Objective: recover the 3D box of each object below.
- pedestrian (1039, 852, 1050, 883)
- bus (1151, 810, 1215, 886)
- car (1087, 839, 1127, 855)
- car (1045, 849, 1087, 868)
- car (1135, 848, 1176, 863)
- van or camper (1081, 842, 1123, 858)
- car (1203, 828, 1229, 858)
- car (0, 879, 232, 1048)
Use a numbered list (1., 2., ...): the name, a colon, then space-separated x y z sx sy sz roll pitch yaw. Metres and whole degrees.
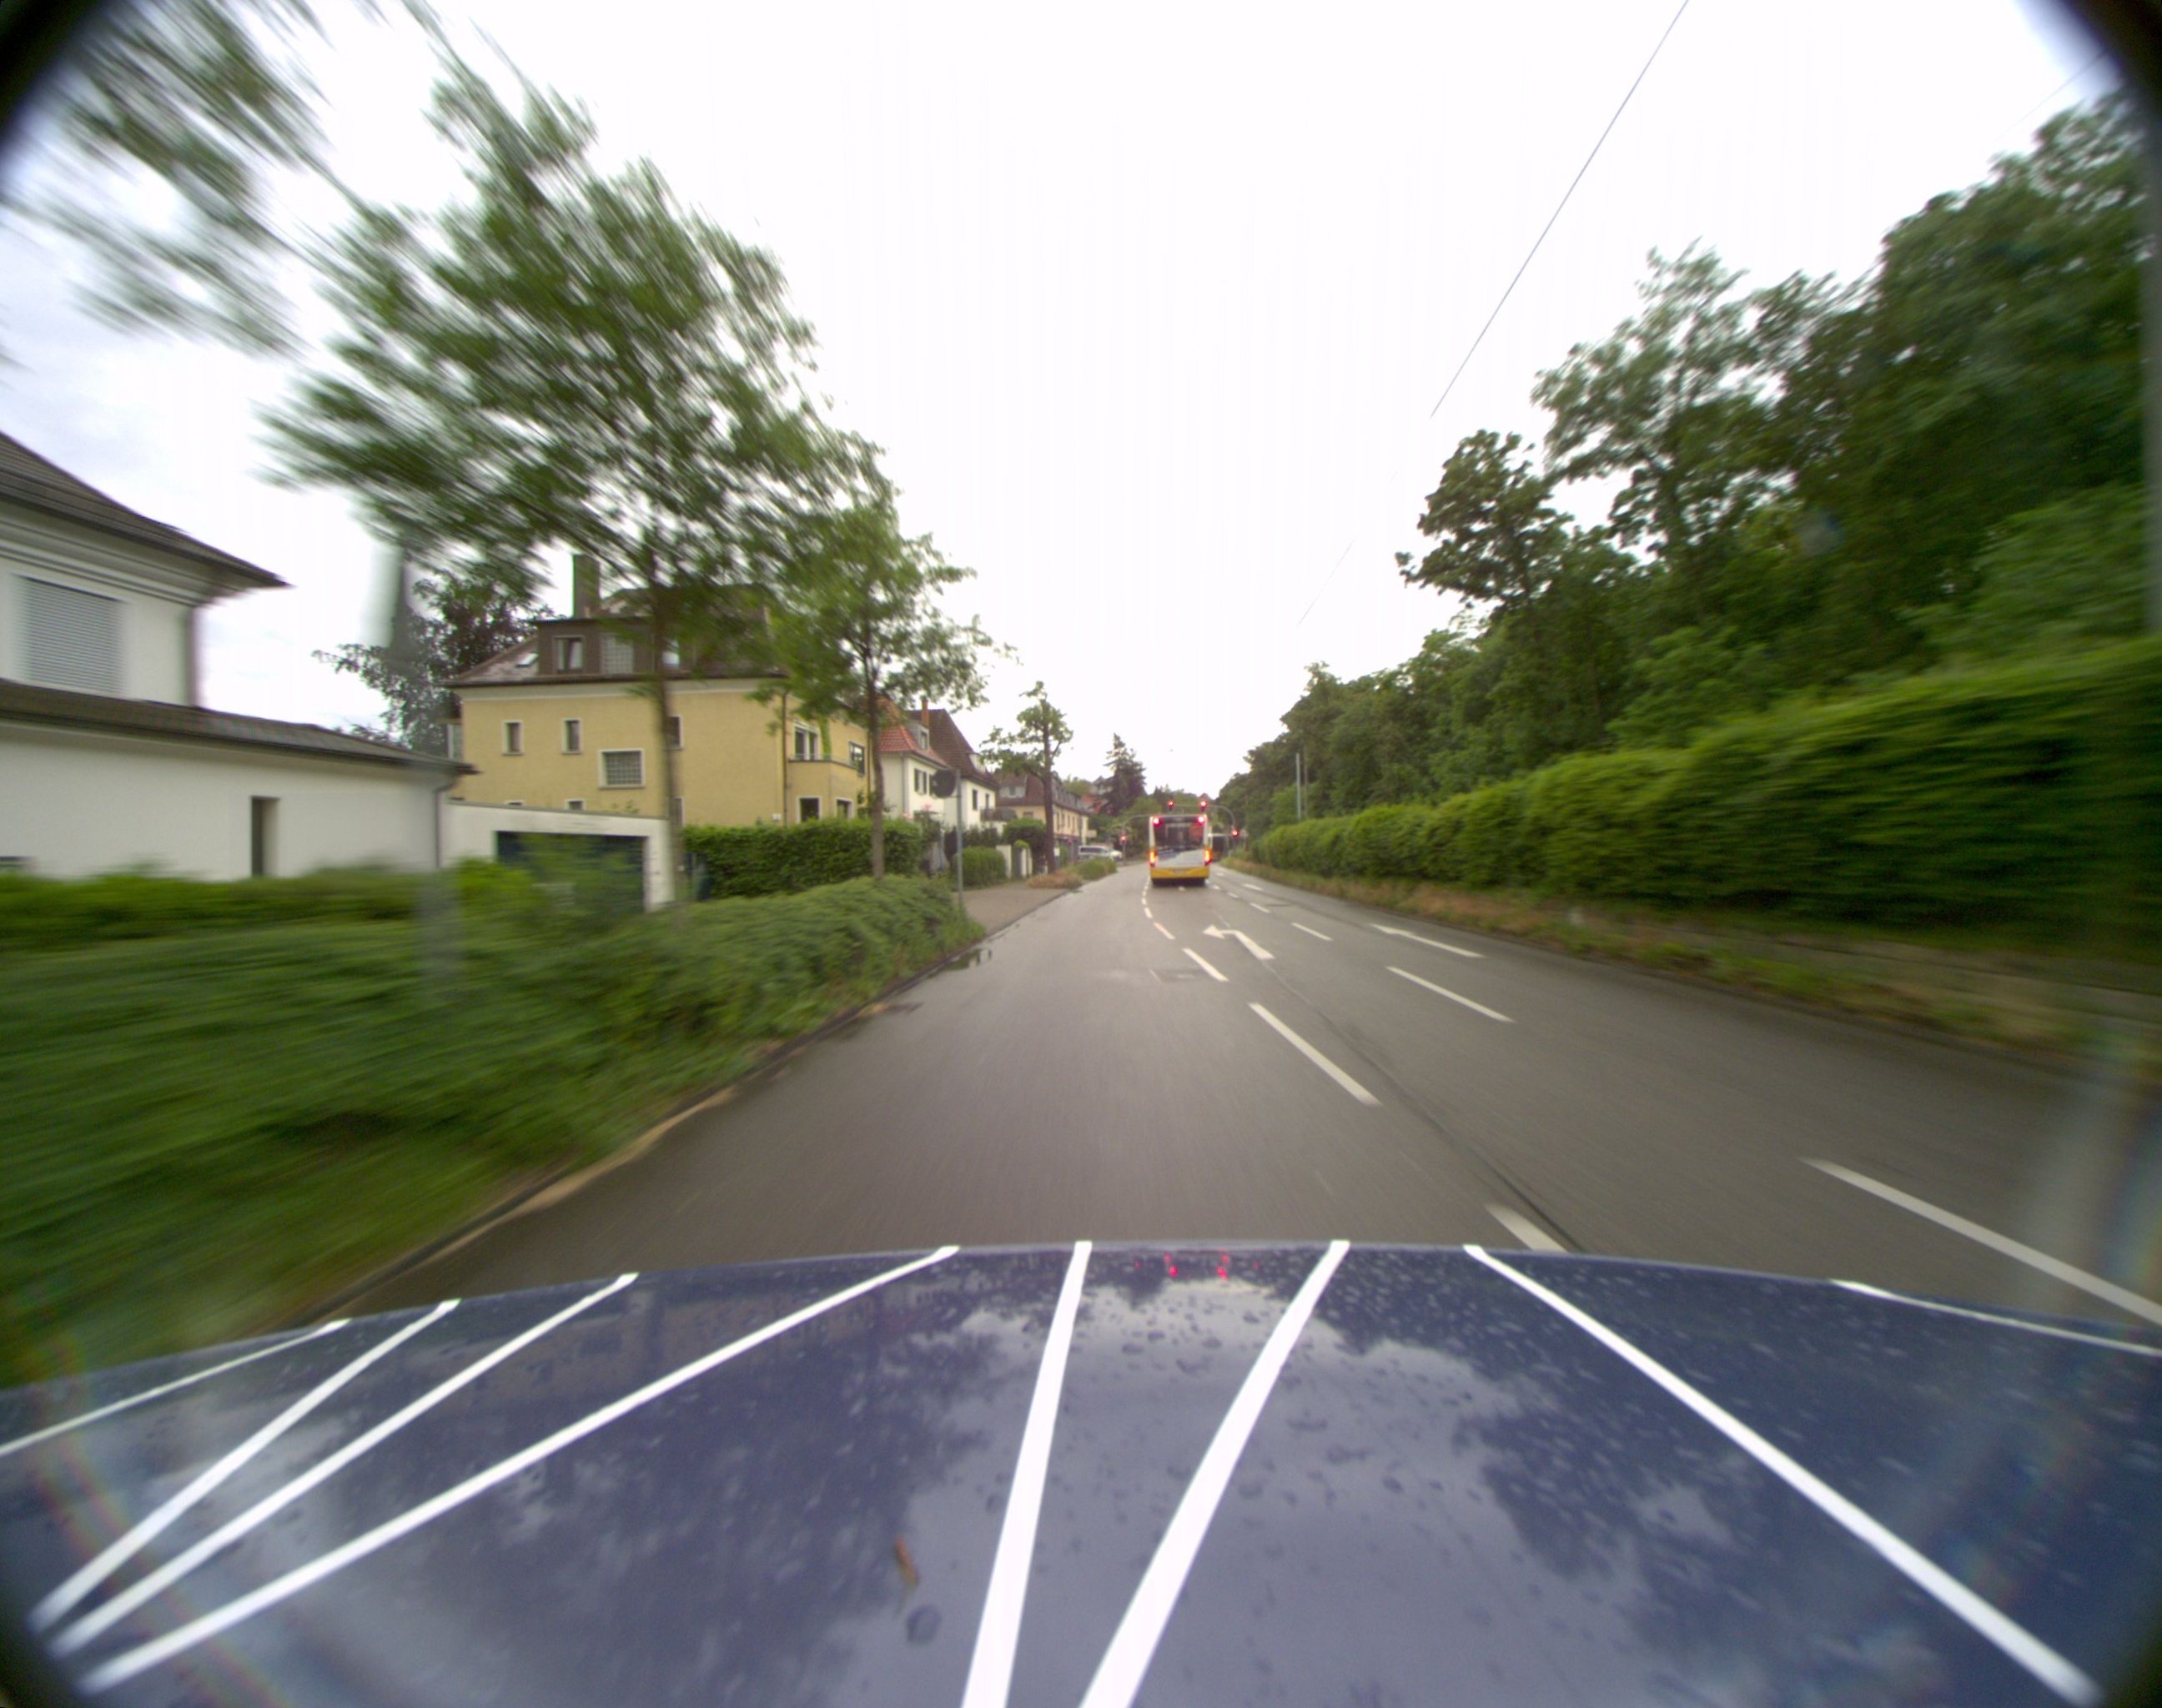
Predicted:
1. pedestrian: -1.835 0.664 38.222 0.483 1.525 0.439 -2 1 3
2. bus: 4.797 -0.291 36.483 2.600 3.140 8.639 -2 0 6
3. car: 3.566 -0.899 102.908 5.173 2.002 2.001 -1 2 11
4. car: -1.510 0.415 76.849 3.996 1.762 2.000 -1 3 4
5. car: 7.753 0.121 79.161 4.007 1.521 1.994 -1 1 -37
6. van or camper: 2.745 -0.530 99.984 5.173 2.002 2.001 -1 2 11
7. car: 16.760 -1.320 94.238 2.853 3.568 6.611 0 1 13
8. car: -8.857 0.867 4.980 1.835 1.169 4.002 -3 0 8
